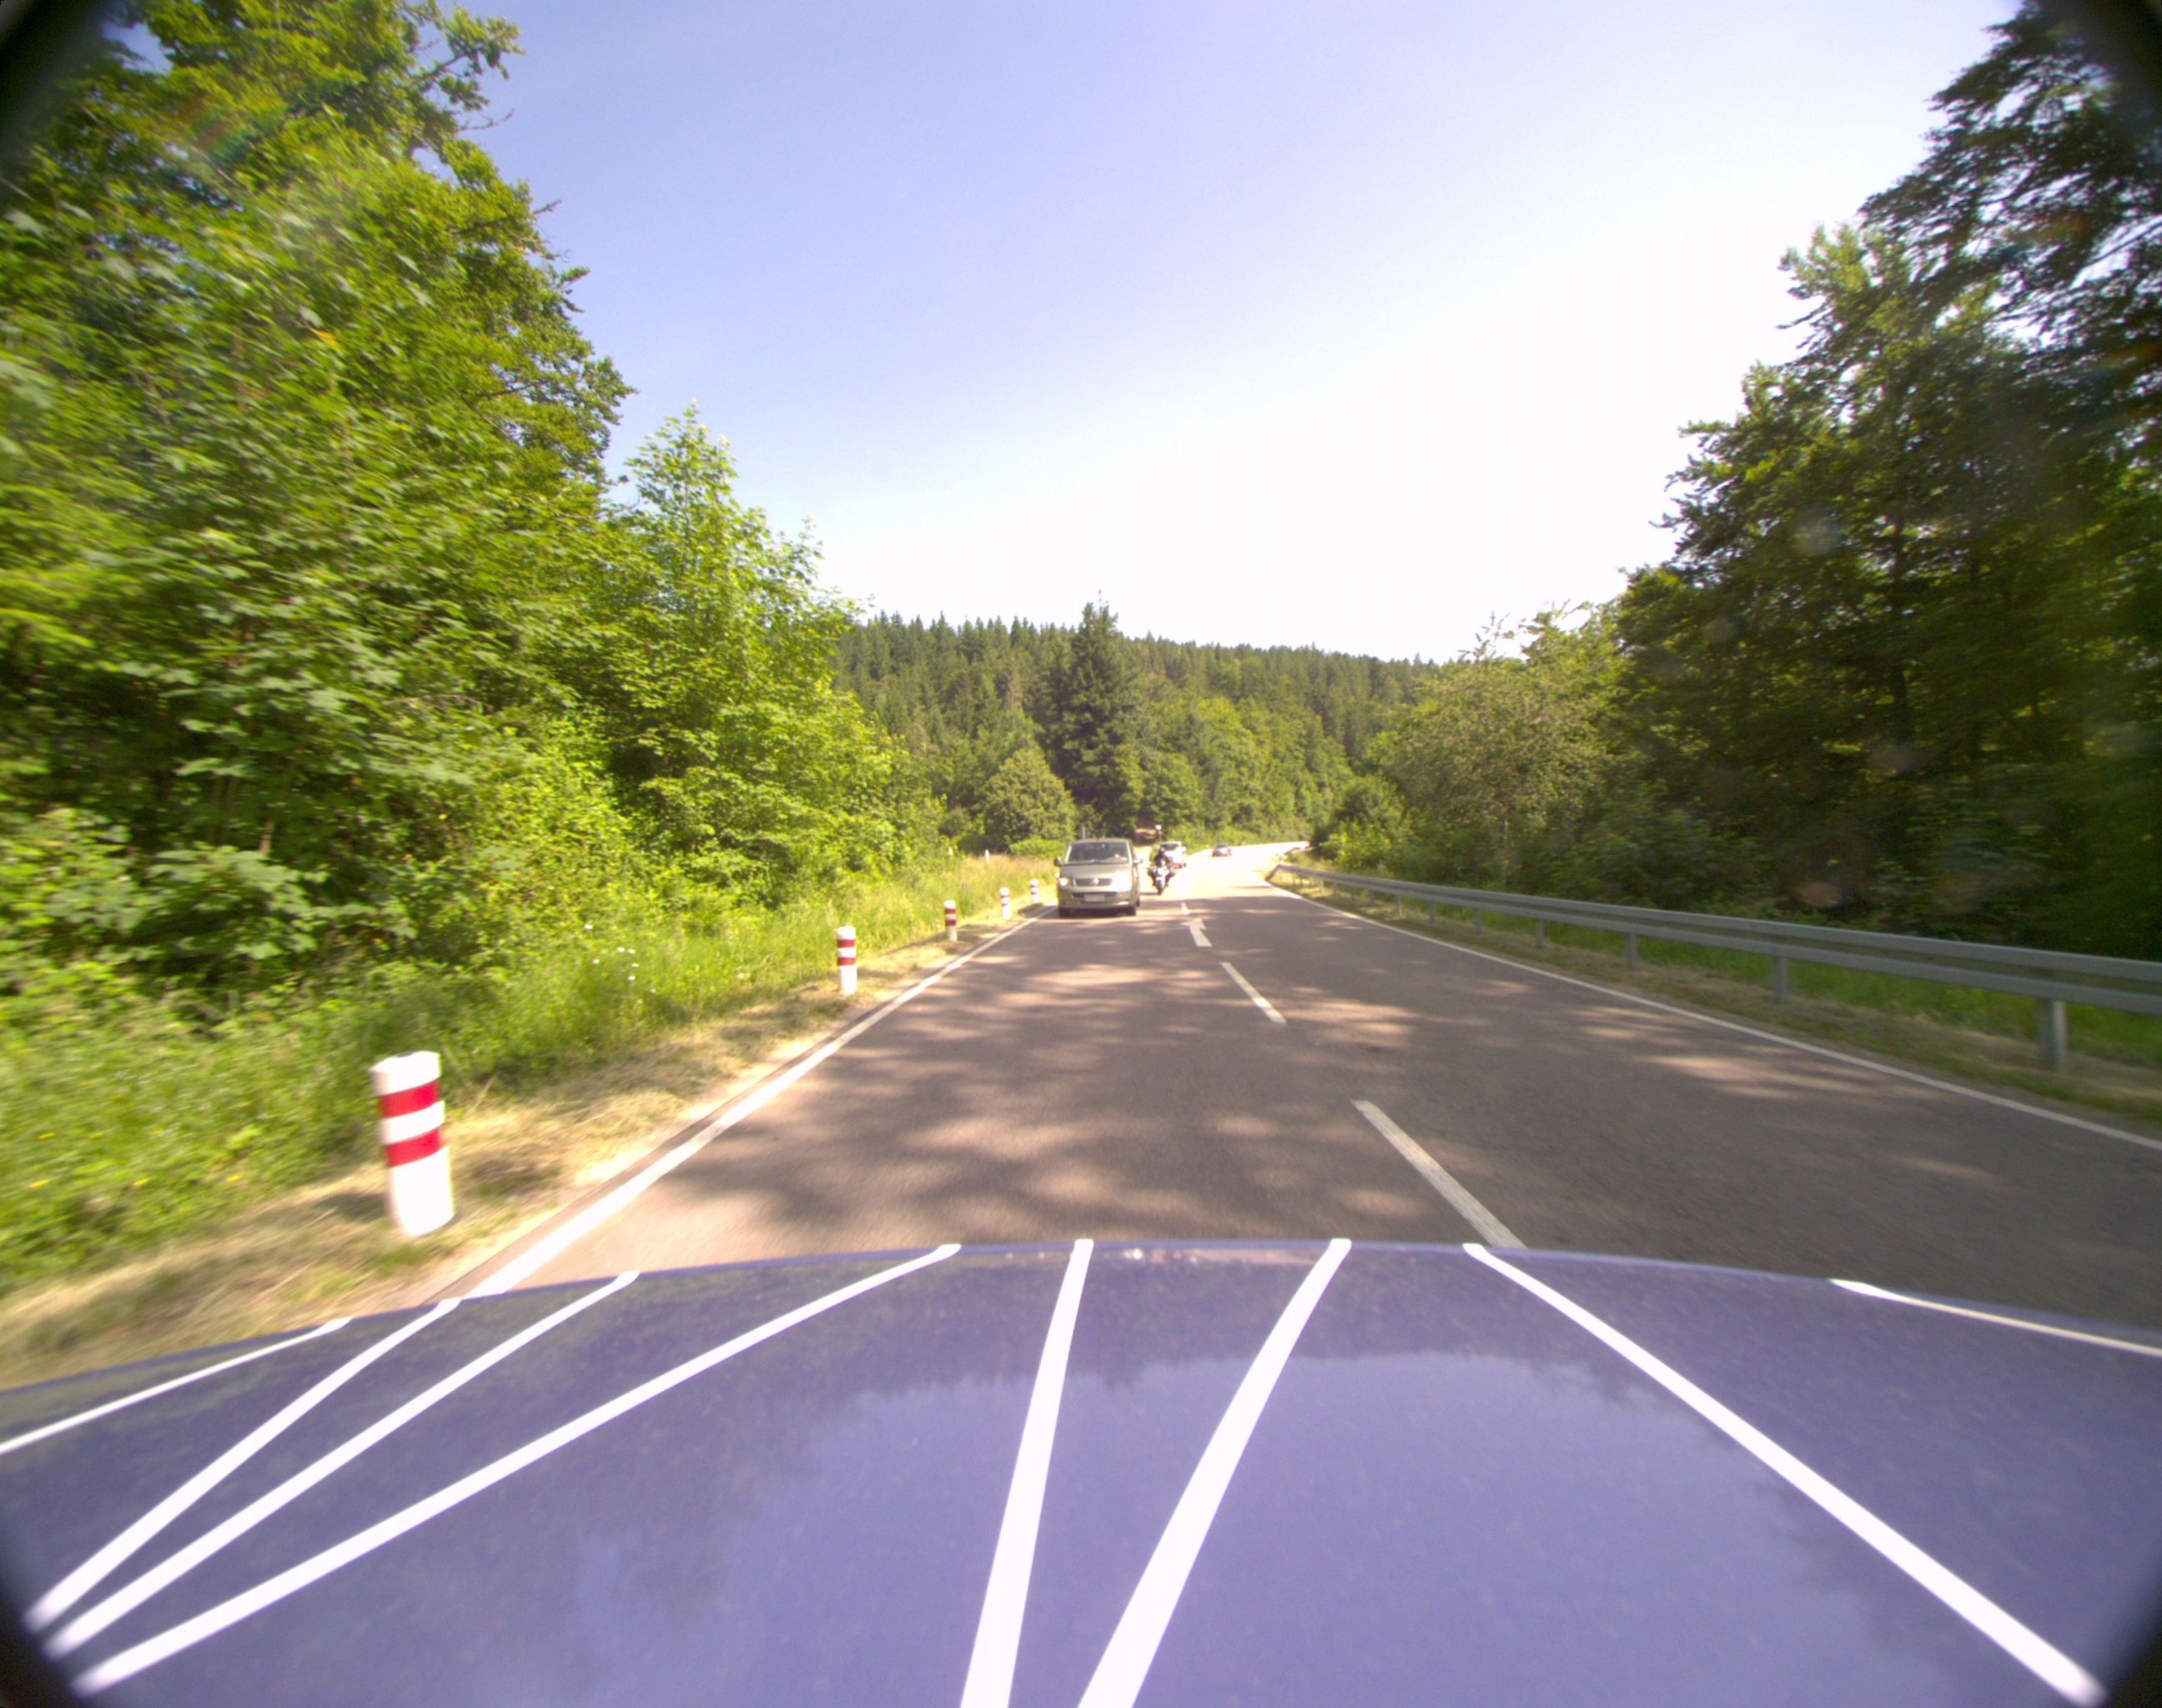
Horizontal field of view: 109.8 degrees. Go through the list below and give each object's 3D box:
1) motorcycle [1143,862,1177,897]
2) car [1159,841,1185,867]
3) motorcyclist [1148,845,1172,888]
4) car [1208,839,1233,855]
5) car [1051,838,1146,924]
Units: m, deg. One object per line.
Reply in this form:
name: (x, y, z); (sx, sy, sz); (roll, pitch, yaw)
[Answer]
motorcycle: (2.799, 0.863, 26.648); (1.109, 1.117, 1.961); (-1, 1, 7)
car: (6.528, -0.028, 54.233); (1.651, 1.749, 3.796); (-1, 2, 10)
motorcyclist: (2.763, 0.431, 26.495); (0.716, 1.422, 0.999); (-3, 0, 6)
car: (15.470, -0.819, 83.871); (1.996, 1.634, 4.005); (-2, 1, 21)
car: (0.603, 0.588, 19.934); (2.028, 1.940, 4.901); (-1, 1, 6)
